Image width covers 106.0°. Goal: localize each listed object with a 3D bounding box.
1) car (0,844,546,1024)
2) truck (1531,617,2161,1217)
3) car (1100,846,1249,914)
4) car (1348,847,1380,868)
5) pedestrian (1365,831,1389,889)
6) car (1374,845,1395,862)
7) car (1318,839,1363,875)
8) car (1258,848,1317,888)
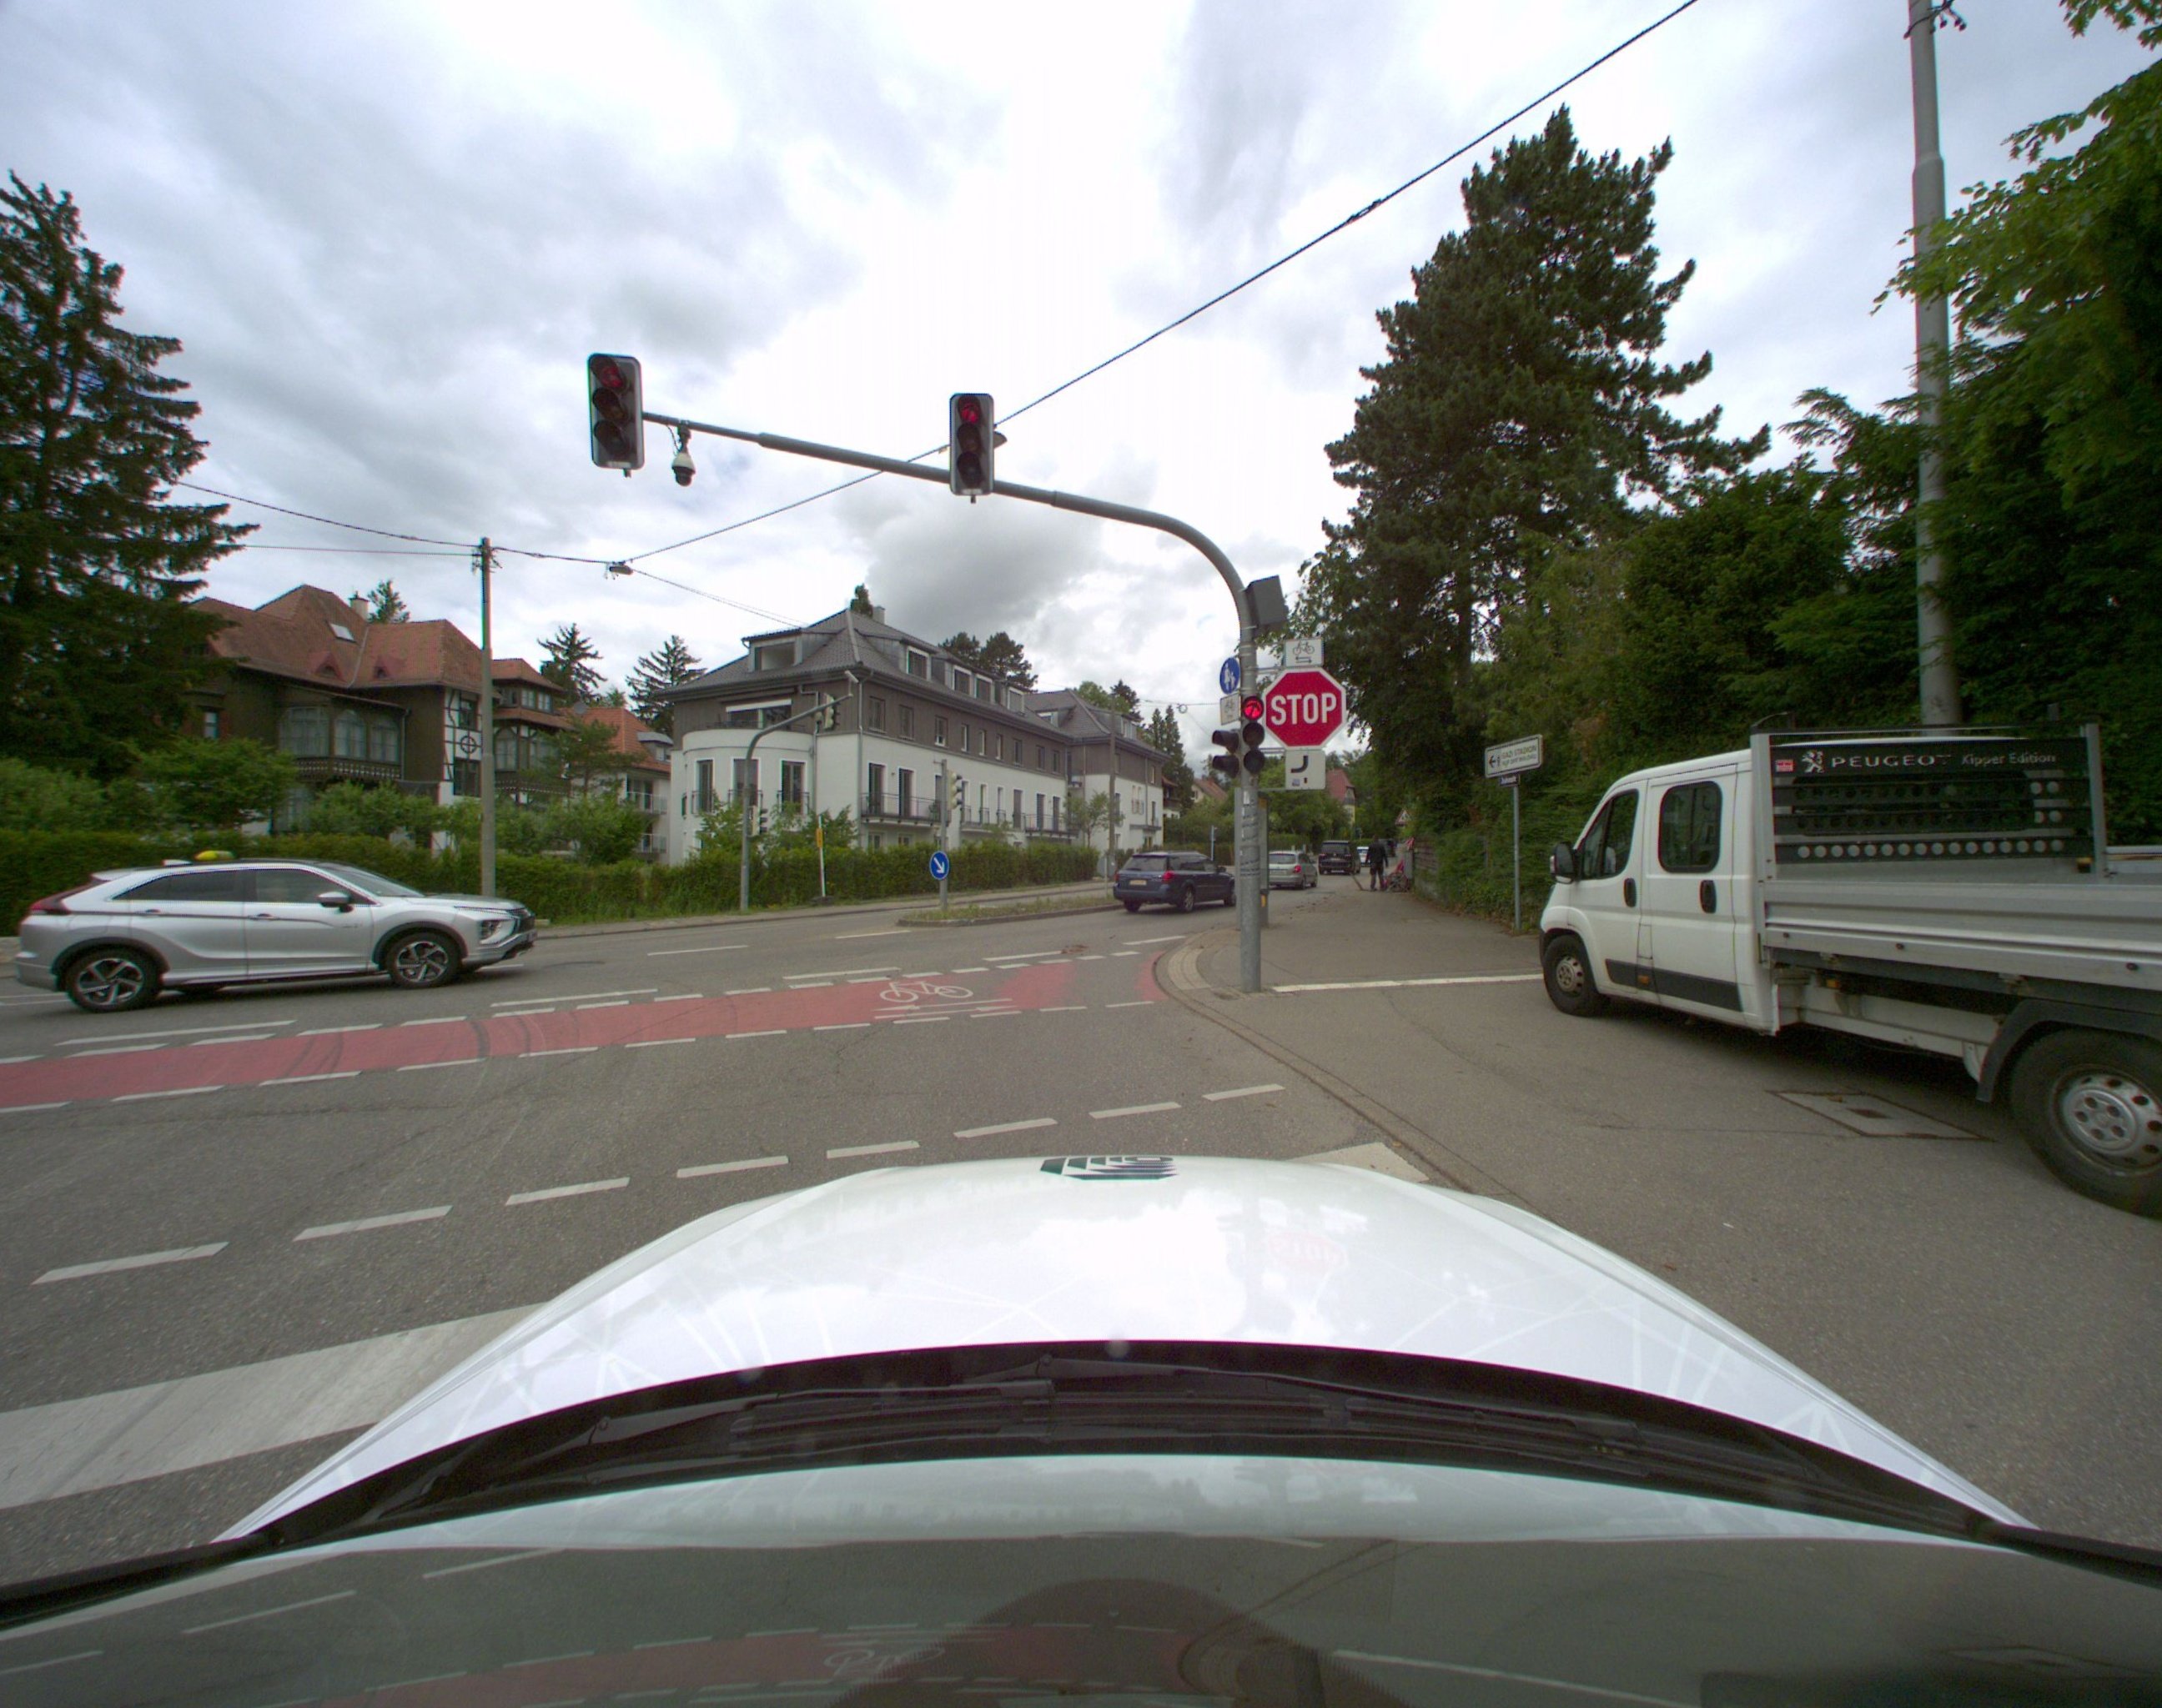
[{"bbox_3d":[-9.535,0.828,10.140,4.493,1.753,1.799,-2,0,-24],"label":"car"},{"bbox_3d":[5.270,0.233,4.959,2.198,2.243,5.729,0,0,4],"label":"truck"},{"bbox_3d":[2.574,0.607,21.159,1.782,1.527,4.773,-2,0,34],"label":"car"},{"bbox_3d":[20.847,0.215,59.883,1.824,1.459,4.102,1,1,25],"label":"car"},{"bbox_3d":[9.936,0.205,27.315,0.594,1.907,0.559,0,0,2],"label":"pedestrian"},{"bbox_3d":[34.337,-0.088,91.995,1.922,1.825,4.101,1,1,24],"label":"car"},{"bbox_3d":[14.706,0.110,46.021,1.902,1.894,4.935,1,1,23],"label":"car"},{"bbox_3d":[8.068,0.509,31.609,1.679,1.430,3.769,-2,0,22],"label":"car"}]
